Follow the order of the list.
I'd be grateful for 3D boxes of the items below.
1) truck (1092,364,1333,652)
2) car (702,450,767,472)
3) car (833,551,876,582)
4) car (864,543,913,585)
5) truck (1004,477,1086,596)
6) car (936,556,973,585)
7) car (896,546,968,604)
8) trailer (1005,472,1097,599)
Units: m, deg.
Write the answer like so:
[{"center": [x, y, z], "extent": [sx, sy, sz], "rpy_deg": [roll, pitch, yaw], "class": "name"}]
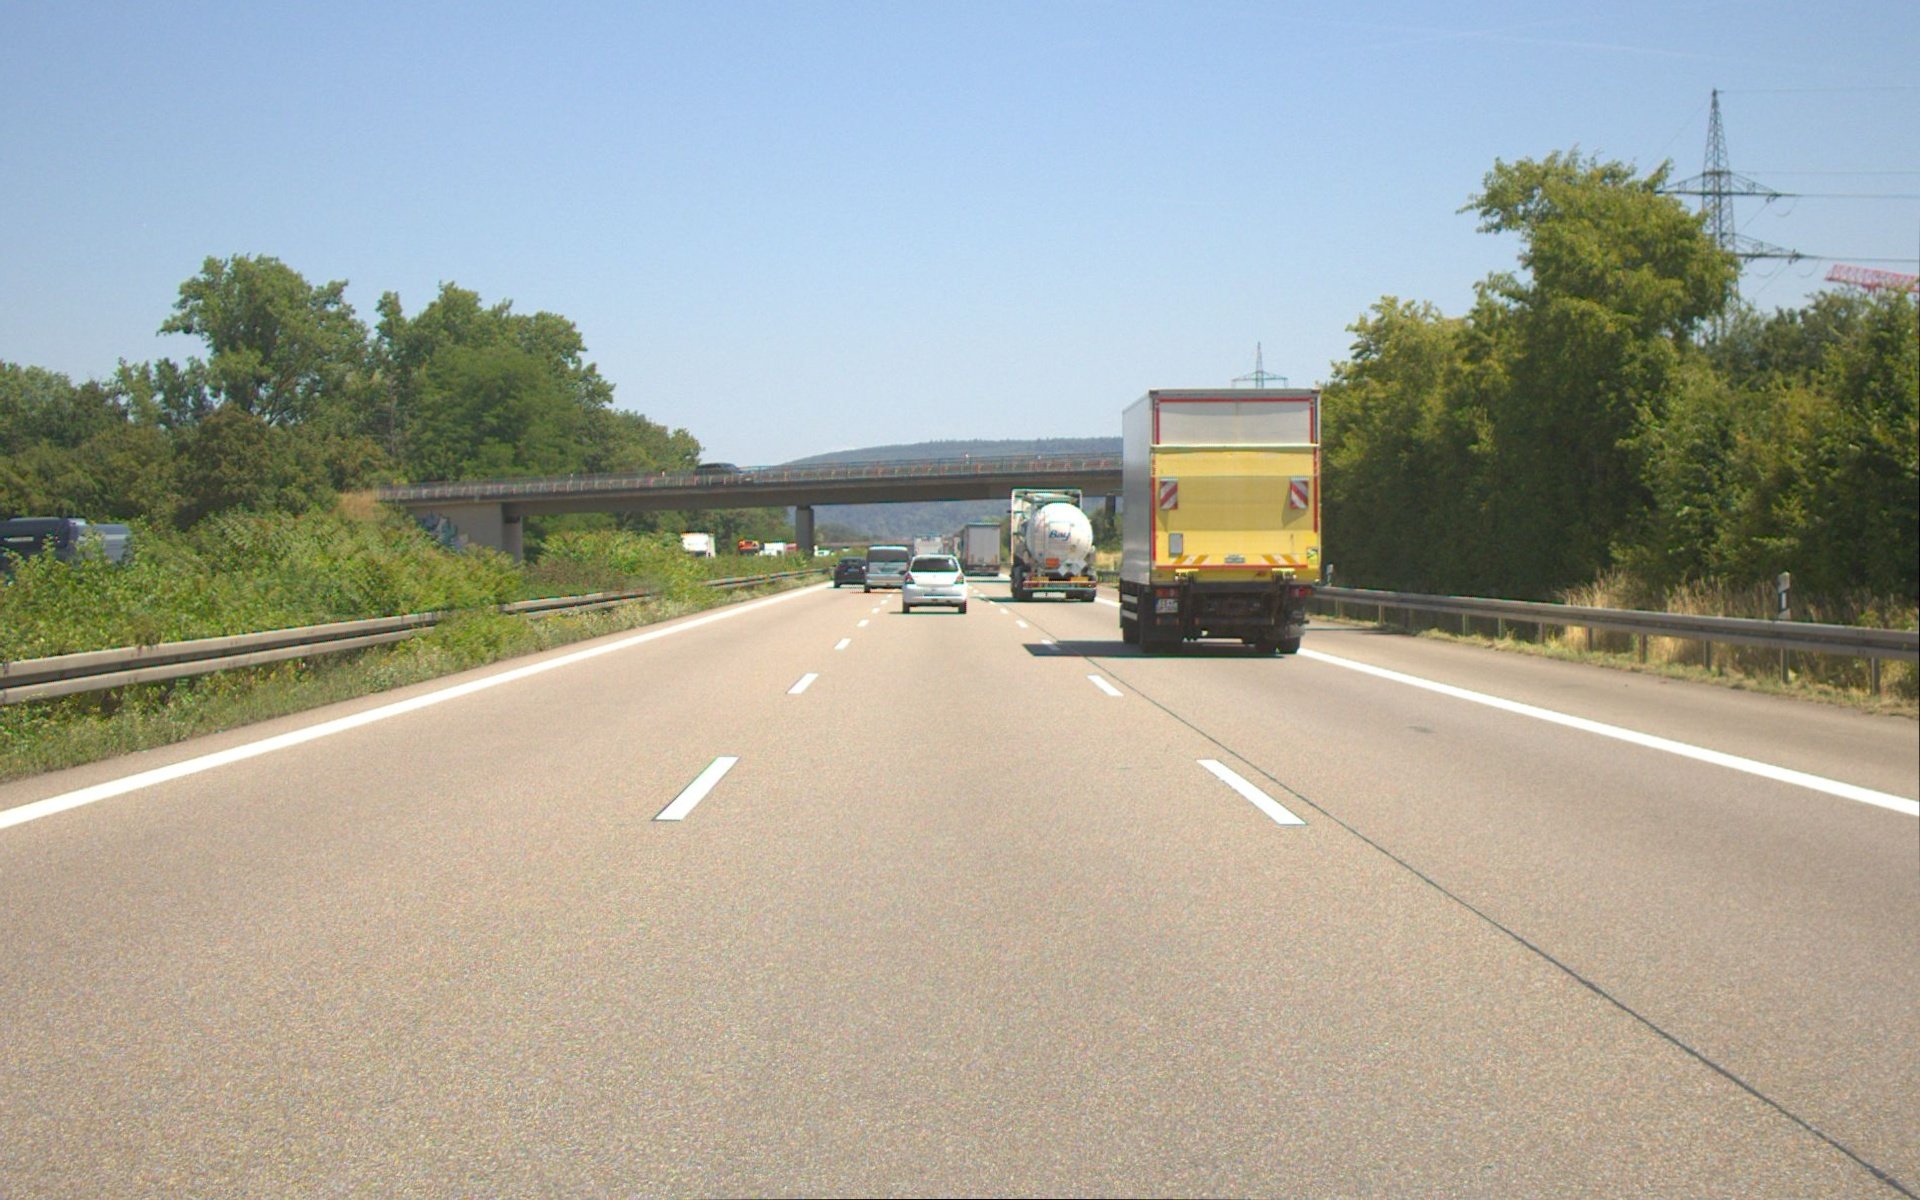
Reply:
[{"center": [3.934, -1.431, 56.073], "extent": [2.933, 4.185, 10.682], "rpy_deg": [1, 1, -1], "class": "truck"}, {"center": [-14.671, -9.063, 223.751], "extent": [3.996, 1.382, 1.837], "rpy_deg": [2, 1, 37], "class": "car"}, {"center": [-4.882, -1.547, 159.269], "extent": [1.835, 1.382, 4.000], "rpy_deg": [1, 1, 0], "class": "car"}, {"center": [-2.878, -1.470, 139.114], "extent": [1.852, 1.627, 4.000], "rpy_deg": [1, 1, 0], "class": "car"}, {"center": [2.972, -2.222, 121.476], "extent": [2.573, 4.058, 6.393], "rpy_deg": [1, 1, -1], "class": "truck"}, {"center": [-0.273, -1.511, 175.399], "extent": [1.835, 1.382, 4.000], "rpy_deg": [1, 1, 0], "class": "car"}, {"center": [-0.728, -0.665, 90.376], "extent": [1.806, 1.463, 4.000], "rpy_deg": [1, 1, 0], "class": "car"}, {"center": [3.038, -2.165, 117.042], "extent": [2.580, 4.060, 11.104], "rpy_deg": [1, 1, -1], "class": "trailer"}]
